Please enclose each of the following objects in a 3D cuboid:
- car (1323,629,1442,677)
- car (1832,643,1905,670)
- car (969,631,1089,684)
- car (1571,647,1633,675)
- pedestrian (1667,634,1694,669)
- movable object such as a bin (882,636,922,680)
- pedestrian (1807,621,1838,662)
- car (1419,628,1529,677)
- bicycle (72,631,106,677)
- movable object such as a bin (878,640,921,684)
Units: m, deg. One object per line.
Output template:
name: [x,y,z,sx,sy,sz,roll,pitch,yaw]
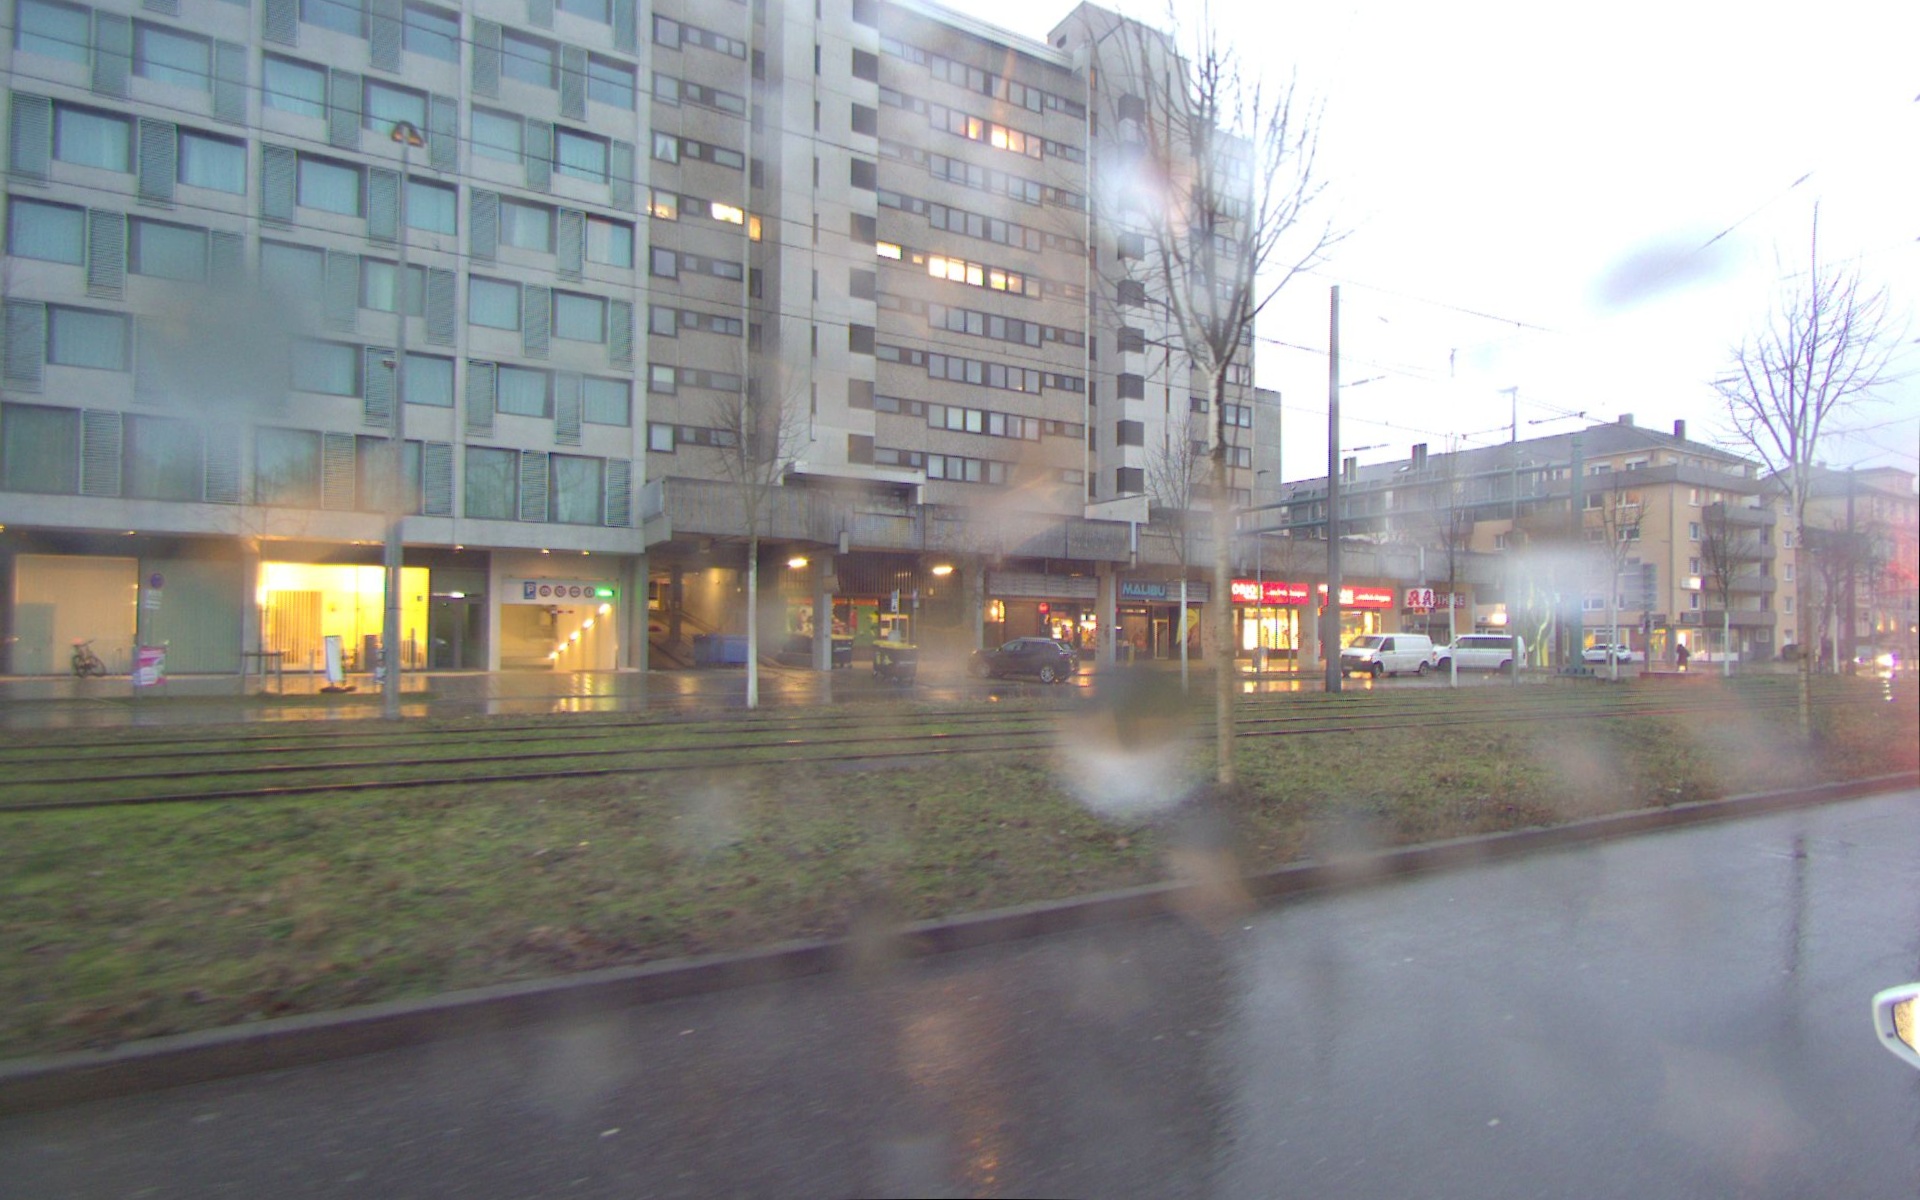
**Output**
car: [19.834,2.509,47.076,5.491,2.073,1.987,2,0,-26]
car: [50.856,3.164,56.205,4.265,1.350,1.850,2,0,-31]
car: [2.607,2.135,38.202,4.066,1.715,1.982,2,0,28]
car: [51.065,4.814,79.897,1.826,1.968,3.720,2,0,-37]
pedestrian: [42.753,3.055,59.602,1.253,2.040,1.004,-1,-2,36]
movable object such as a bin: [-2.098,2.076,36.335,1.004,1.521,1.039,2,0,-41]
pedestrian: [43.587,2.097,50.761,0.998,2.040,0.952,2,-2,-36]
car: [26.929,2.715,52.769,4.734,2.274,2.001,2,0,15]
bicycle: [-25.270,1.555,29.144,0.460,1.254,1.527,2,0,-31]
movable object such as a bin: [-2.111,2.130,34.881,1.023,1.445,1.061,2,0,-41]
